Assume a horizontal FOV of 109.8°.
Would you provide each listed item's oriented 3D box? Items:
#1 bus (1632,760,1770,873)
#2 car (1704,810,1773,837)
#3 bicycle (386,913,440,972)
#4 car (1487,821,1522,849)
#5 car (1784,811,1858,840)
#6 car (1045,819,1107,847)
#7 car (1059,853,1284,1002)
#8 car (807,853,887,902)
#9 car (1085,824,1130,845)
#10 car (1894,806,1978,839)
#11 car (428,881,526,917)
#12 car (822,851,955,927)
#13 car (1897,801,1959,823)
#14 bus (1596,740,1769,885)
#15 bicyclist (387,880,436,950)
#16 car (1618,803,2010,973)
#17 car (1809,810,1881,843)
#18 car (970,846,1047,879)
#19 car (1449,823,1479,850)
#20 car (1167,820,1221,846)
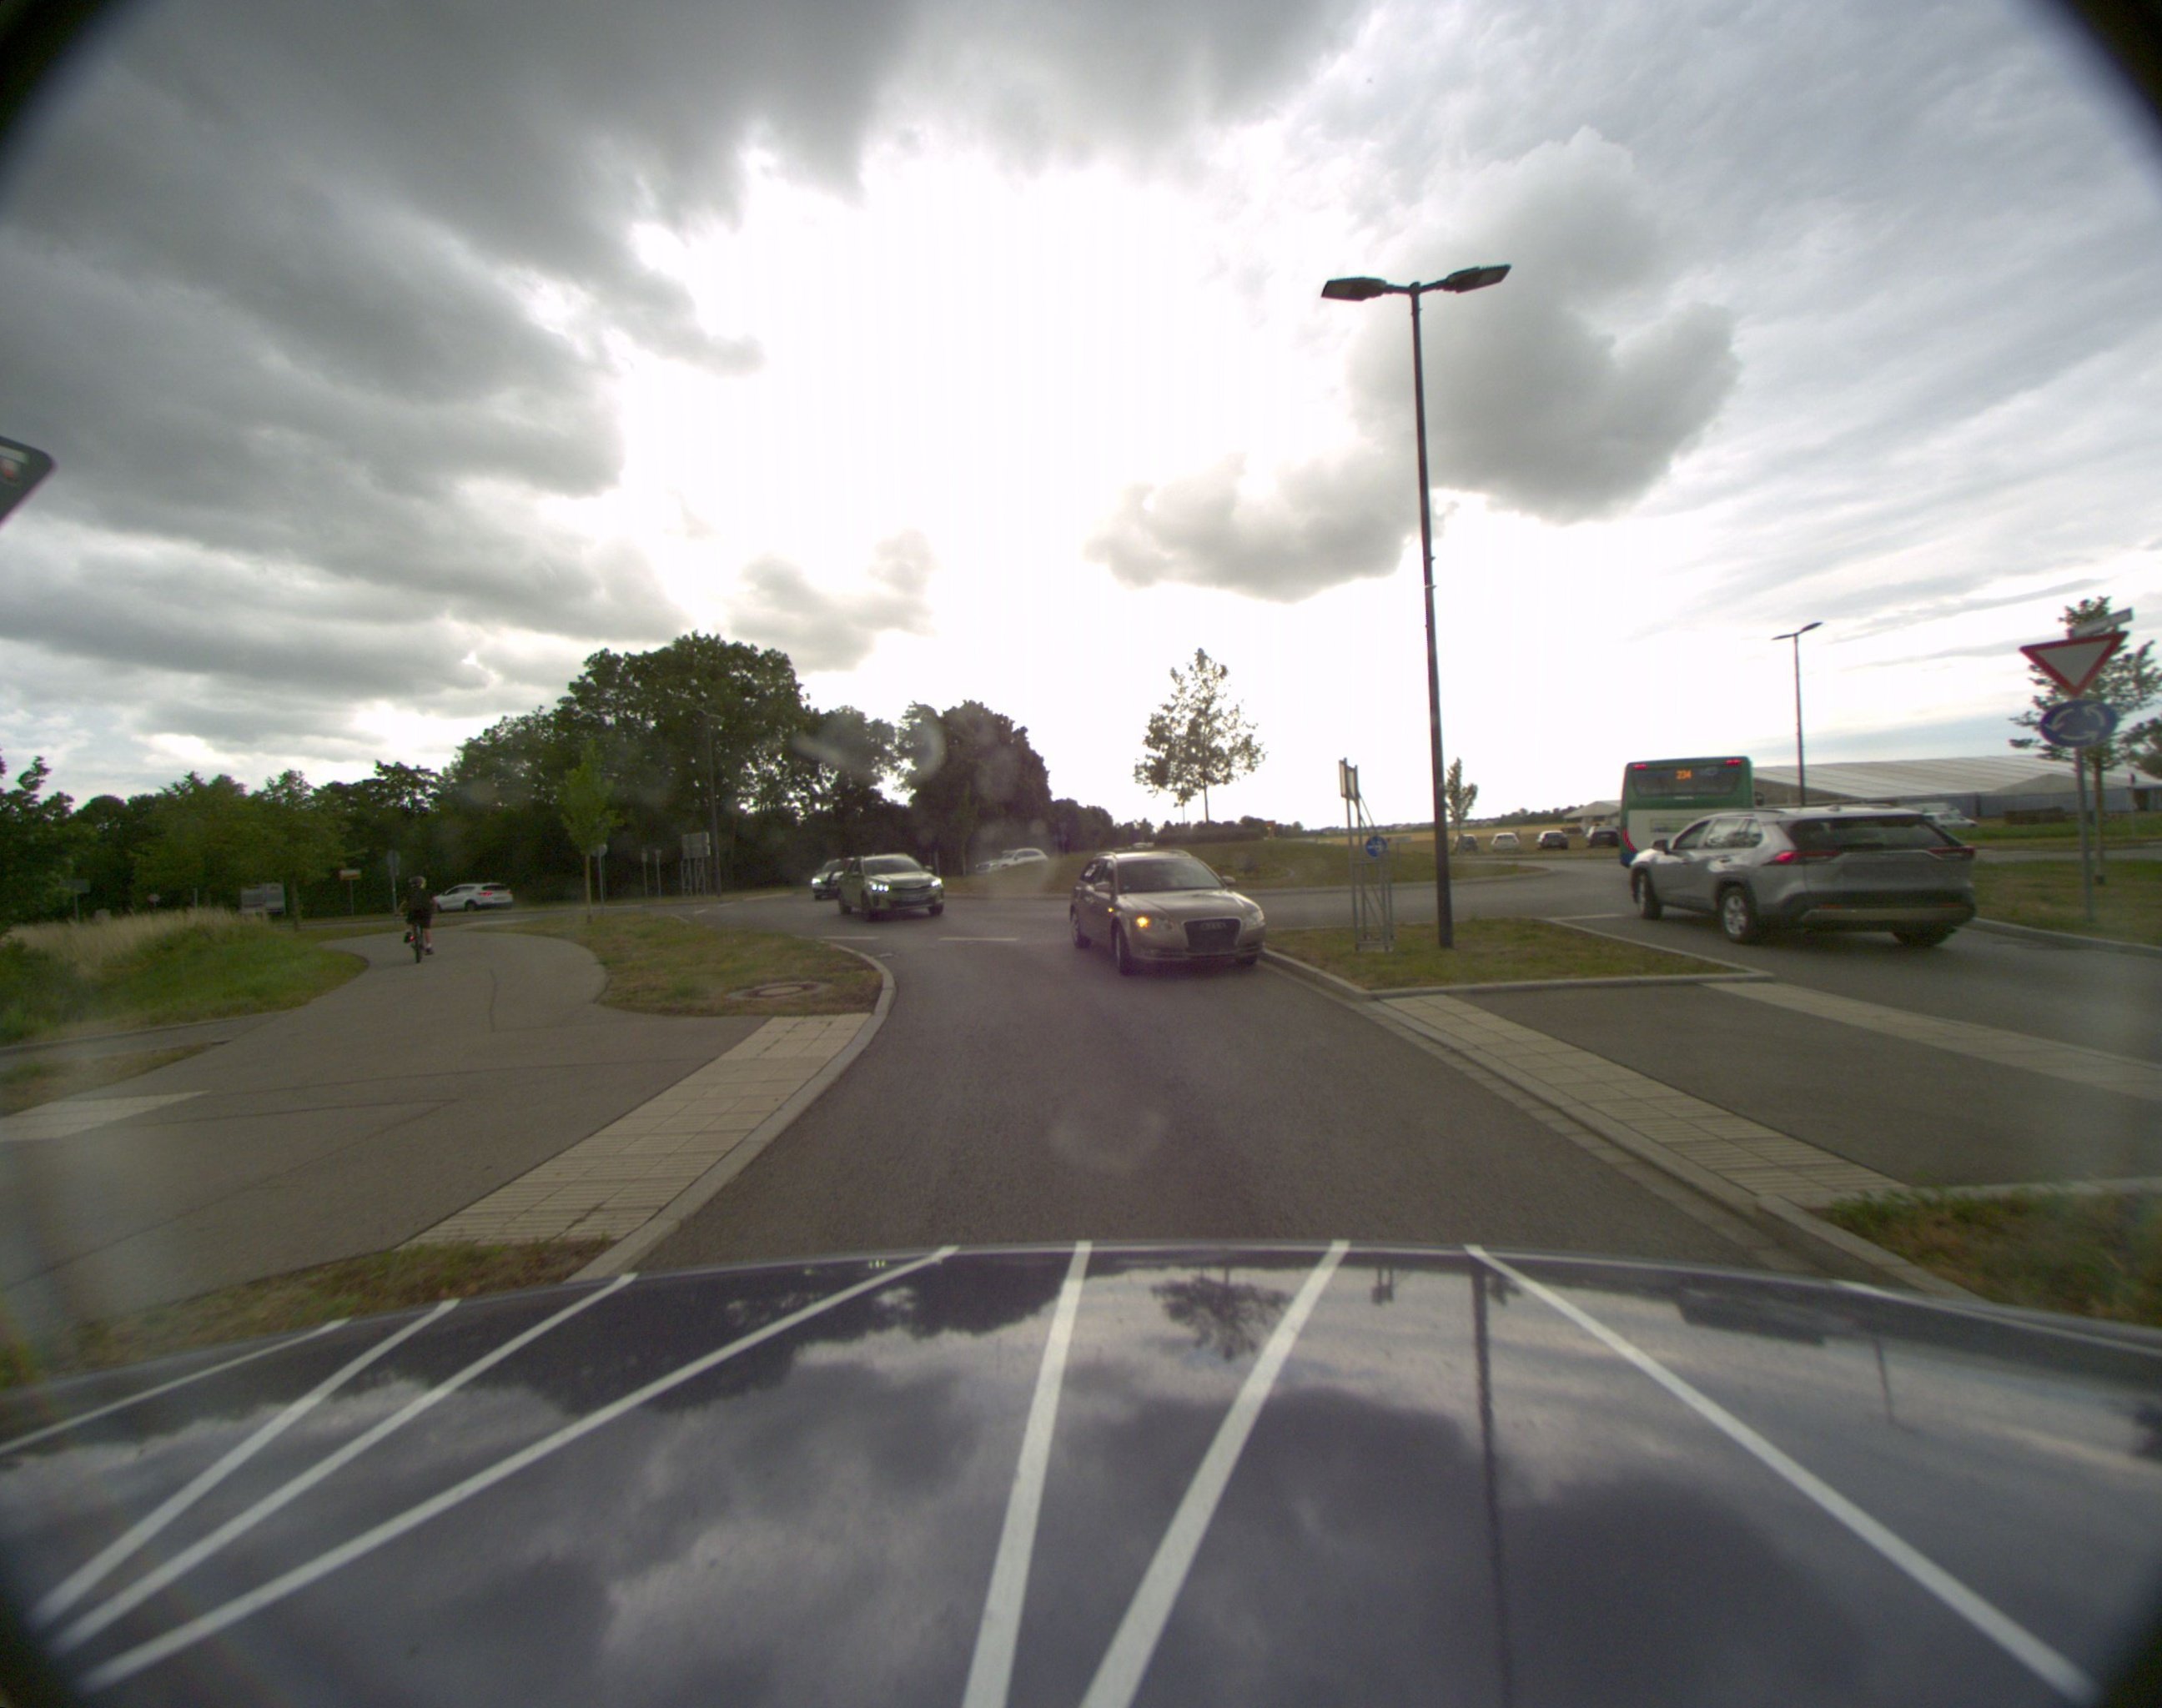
[{"bbox_3d":[20.826,-1.159,25.361,2.985,3.261,6.715,-1,1,44],"label":"bus"},{"bbox_3d":[52.066,-2.408,60.200,4.000,2.002,1.998,-2,1,-8],"label":"car"},{"bbox_3d":[-12.473,1.622,14.180,1.297,0.956,0.569,-1,1,41],"label":"bicycle"},{"bbox_3d":[31.798,-1.436,57.151,1.995,2.002,4.006,-1,1,25],"label":"car"},{"bbox_3d":[54.584,-2.074,56.092,4.001,2.002,1.998,-2,1,-12],"label":"car"},{"bbox_3d":[-0.295,-1.457,53.474,1.994,1.794,4.781,-1,1,33],"label":"car"},{"bbox_3d":[0.954,0.777,10.159,1.702,1.458,3.995,-3,1,-13],"label":"car"},{"bbox_3d":[-8.651,0.817,28.459,1.871,1.533,4.197,-3,1,-4],"label":"car"},{"bbox_3d":[2.327,-1.644,65.166,1.994,1.674,4.007,-1,1,33],"label":"car"},{"bbox_3d":[56.534,-2.067,50.269,4.001,2.002,1.998,-2,1,-12],"label":"car"},{"bbox_3d":[-32.308,2.406,40.655,4.066,1.762,2.002,-1,1,15],"label":"car"},{"bbox_3d":[-5.037,0.797,19.305,1.874,1.579,5.051,-4,1,-30],"label":"car"},{"bbox_3d":[82.087,-4.066,73.655,4.568,2.002,1.998,-2,1,-12],"label":"car"},{"bbox_3d":[16.326,-0.991,20.425,2.985,3.261,6.497,-1,1,44],"label":"bus"},{"bbox_3d":[-12.483,1.123,14.163,0.657,1.236,0.556,-1,1,41],"label":"bicyclist"},{"bbox_3d":[8.992,0.275,9.966,1.828,1.713,4.403,-1,2,16],"label":"car"},{"bbox_3d":[49.793,-1.749,49.625,2.226,2.002,4.007,-1,1,29],"label":"car"},{"bbox_3d":[-4.045,0.458,42.660,1.994,1.674,4.008,-1,1,41],"label":"car"},{"bbox_3d":[29.463,-1.354,58.533,1.995,2.002,4.006,-1,1,25],"label":"car"},{"bbox_3d":[7.912,-1.480,53.108,1.994,1.674,4.008,-1,1,38],"label":"car"}]
